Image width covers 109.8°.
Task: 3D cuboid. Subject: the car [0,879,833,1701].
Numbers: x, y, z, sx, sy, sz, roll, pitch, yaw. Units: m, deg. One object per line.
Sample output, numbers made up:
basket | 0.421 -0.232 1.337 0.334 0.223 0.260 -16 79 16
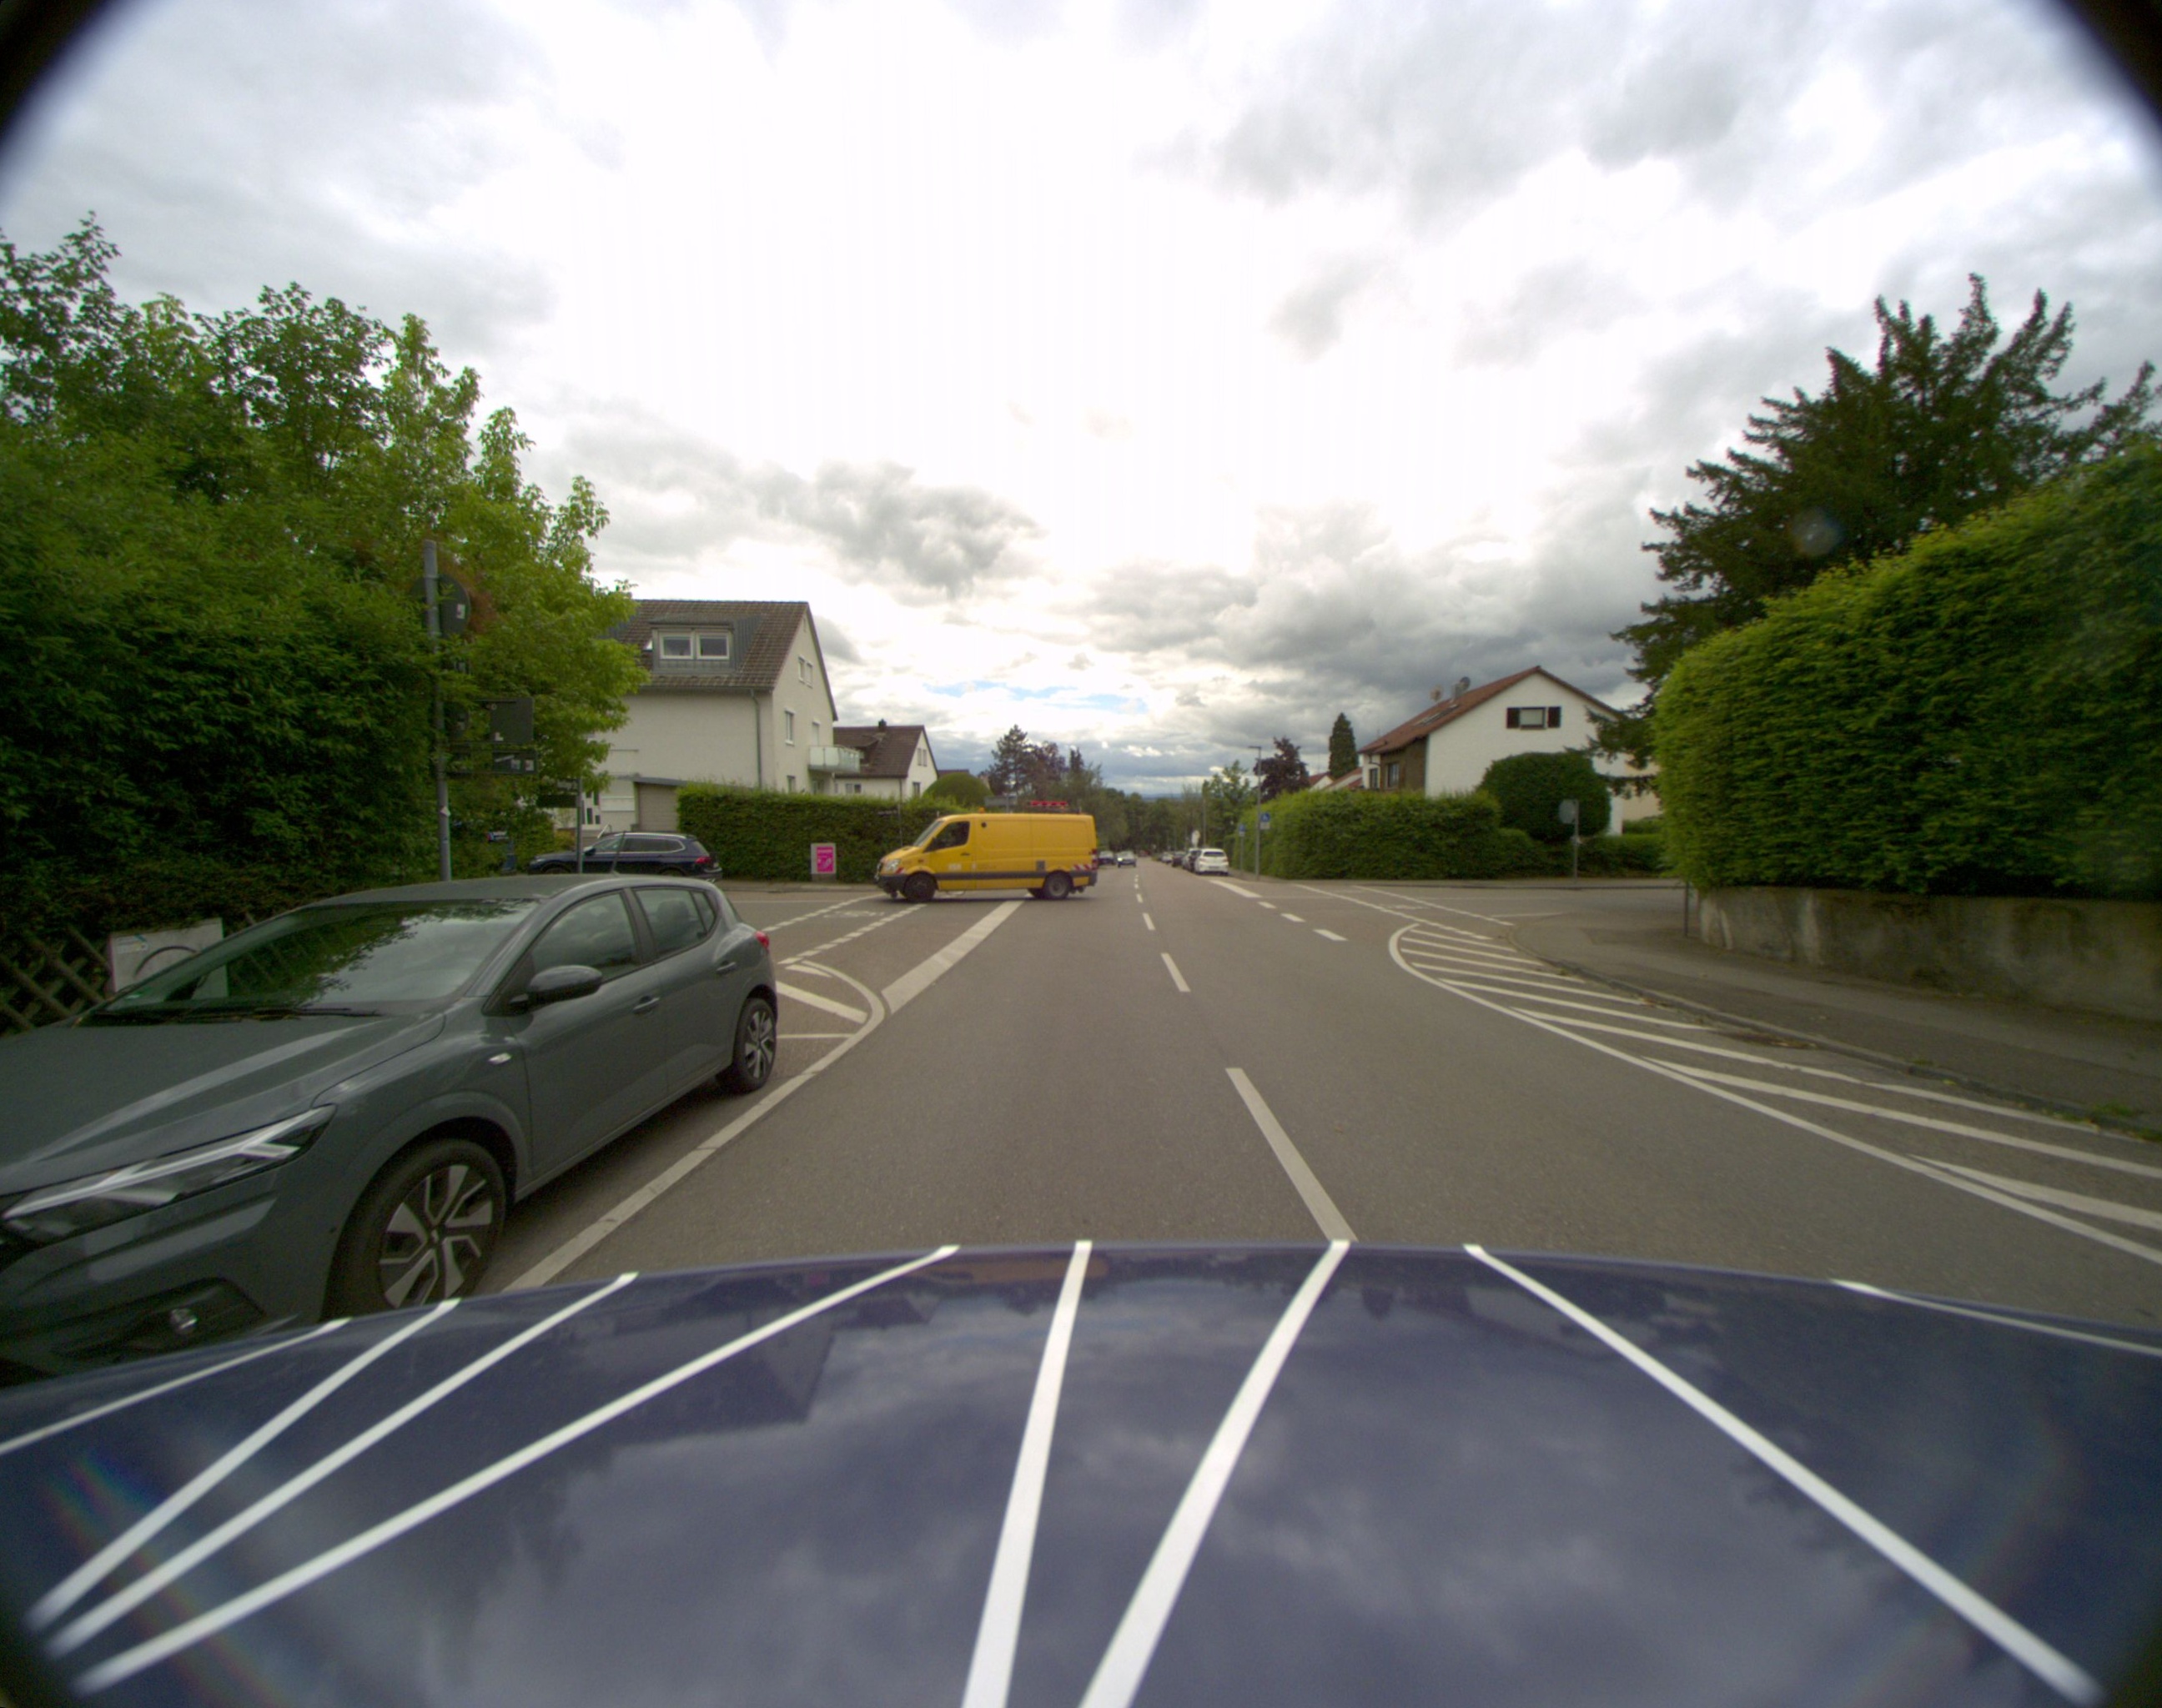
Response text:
car | -2.947 0.959 3.762 1.942 1.483 4.456 1 0 1

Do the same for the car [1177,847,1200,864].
car | 10.274 0.137 72.967 1.944 1.540 4.007 1 0 5

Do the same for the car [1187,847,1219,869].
car | 8.566 0.271 53.495 1.890 1.481 4.343 1 0 5

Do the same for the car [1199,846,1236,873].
car | 7.594 0.287 42.400 1.693 1.411 3.581 2 1 5

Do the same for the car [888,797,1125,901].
car | -2.096 -0.110 21.047 6.149 2.586 2.364 0 1 -19

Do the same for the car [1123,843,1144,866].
car | 5.061 -0.020 73.475 1.998 2.003 3.999 1 3 4

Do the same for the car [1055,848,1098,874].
car | -0.212 0.395 46.869 1.927 1.485 5.211 0 0 7

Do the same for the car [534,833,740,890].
car | -12.151 0.220 21.122 4.521 1.426 1.998 1 0 -13

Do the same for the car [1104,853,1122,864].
car | 3.800 0.460 89.138 1.998 1.221 4.001 0 1 5

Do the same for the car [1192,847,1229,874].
car | 7.992 0.384 47.317 1.785 1.481 4.740 3 1 5
